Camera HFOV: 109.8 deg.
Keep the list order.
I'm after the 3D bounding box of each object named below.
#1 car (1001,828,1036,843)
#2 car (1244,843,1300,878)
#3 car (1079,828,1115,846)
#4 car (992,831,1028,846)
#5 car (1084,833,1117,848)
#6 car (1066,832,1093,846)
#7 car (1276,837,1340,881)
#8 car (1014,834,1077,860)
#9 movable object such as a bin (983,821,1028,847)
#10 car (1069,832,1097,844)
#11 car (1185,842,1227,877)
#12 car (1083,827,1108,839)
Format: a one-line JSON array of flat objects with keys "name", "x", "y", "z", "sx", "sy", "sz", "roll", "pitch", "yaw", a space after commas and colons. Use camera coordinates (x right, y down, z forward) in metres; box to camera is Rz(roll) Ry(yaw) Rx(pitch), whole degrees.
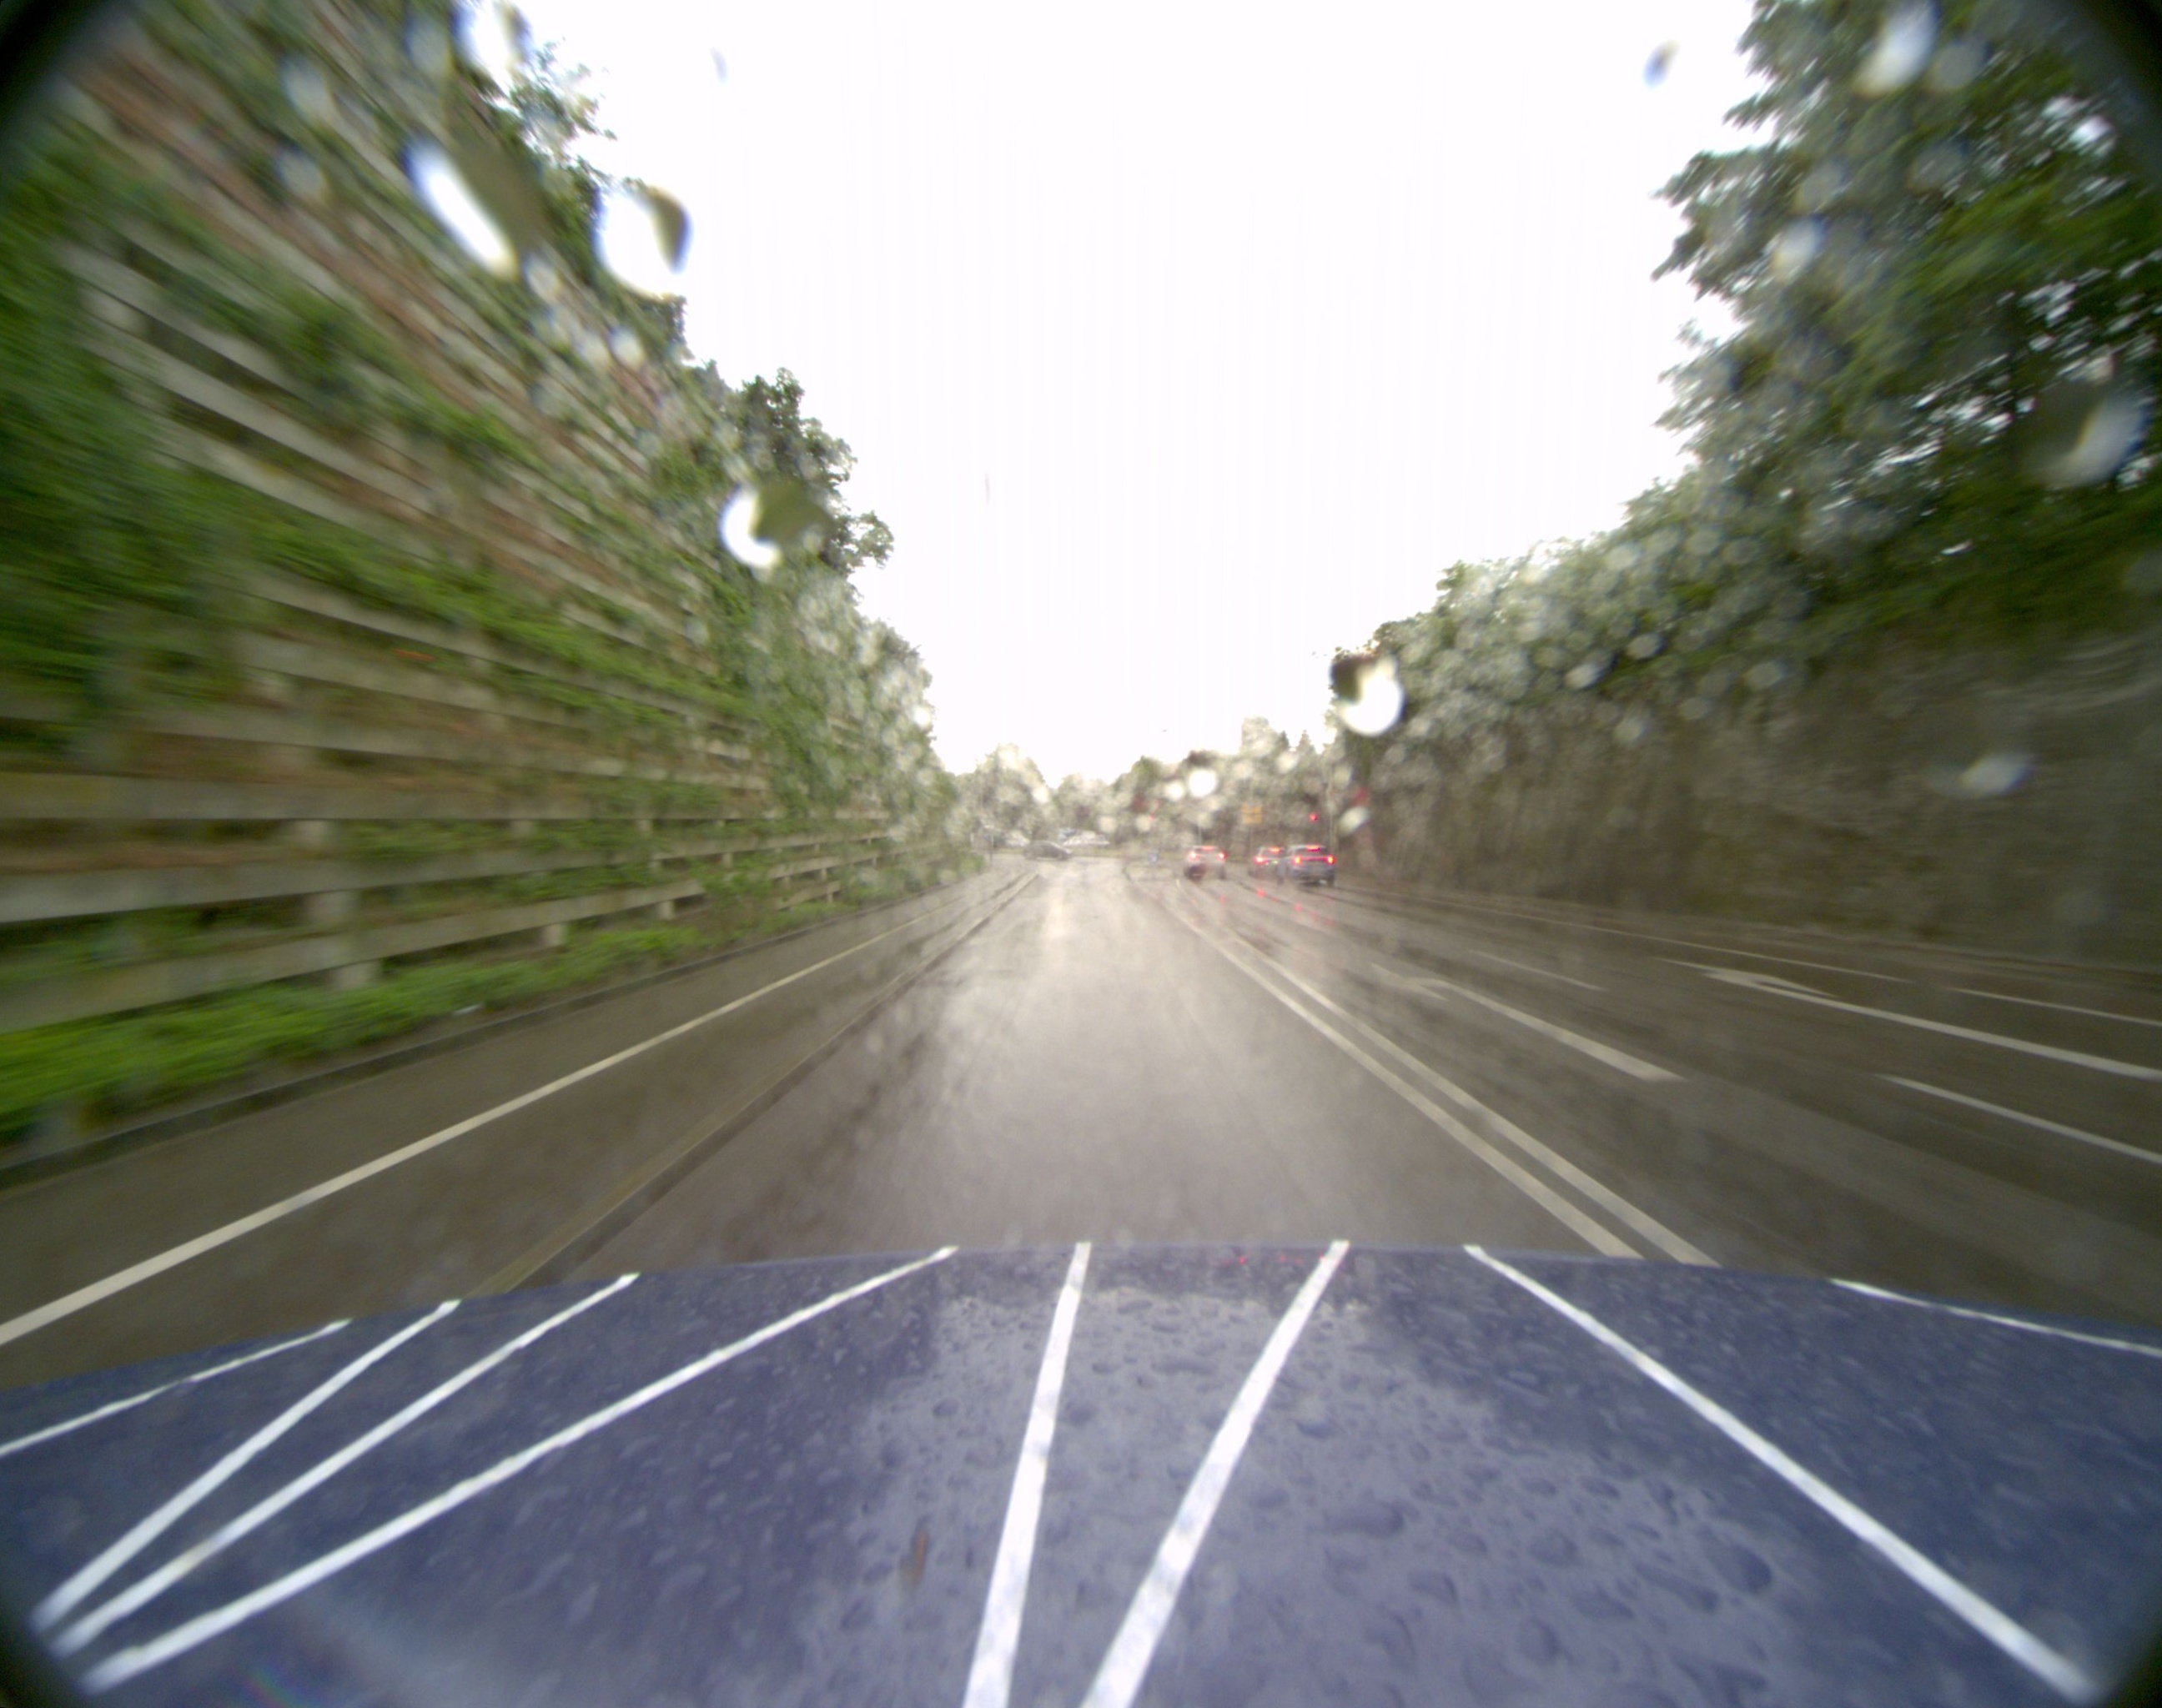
[{"name": "car", "x": -8.263, "y": -2.432, "z": 101.204, "sx": 4.386, "sy": 1.756, "sz": 1.921, "roll": 3, "pitch": 2, "yaw": 1}, {"name": "car", "x": 9.429, "y": 0.278, "z": 37.910, "sx": 1.997, "sy": 1.494, "sz": 4.730, "roll": 3, "pitch": 2, "yaw": 6}, {"name": "car", "x": 1.869, "y": -2.024, "z": 91.545, "sx": 4.232, "sy": 1.969, "sz": 1.903, "roll": 3, "pitch": 2, "yaw": 0}, {"name": "car", "x": -8.285, "y": -1.781, "z": 88.769, "sx": 3.997, "sy": 1.565, "sz": 1.669, "roll": 3, "pitch": 2, "yaw": 0}, {"name": "car", "x": 2.250, "y": -1.639, "z": 89.145, "sx": 3.822, "sy": 1.559, "sz": 1.774, "roll": 3, "pitch": 2, "yaw": 0}, {"name": "car", "x": -0.248, "y": -2.275, "z": 113.489, "sx": 3.961, "sy": 1.869, "sz": 1.693, "roll": 3, "pitch": 2, "yaw": -4}, {"name": "car", "x": 9.040, "y": 0.134, "z": 30.545, "sx": 1.818, "sy": 1.648, "sz": 4.052, "roll": 0, "pitch": 1, "yaw": 7}, {"name": "car", "x": -2.639, "y": -0.545, "z": 57.323, "sx": 4.384, "sy": 1.867, "sz": 1.938, "roll": 0, "pitch": 2, "yaw": 10}, {"name": "movable object such as a bin", "x": -8.274, "y": -2.169, "z": 83.175, "sx": 2.316, "sy": 2.671, "sz": 5.686, "roll": 1, "pitch": 1, "yaw": -35}, {"name": "car", "x": 0.317, "y": -2.320, "z": 111.014, "sx": 3.880, "sy": 1.619, "sz": 1.693, "roll": 3, "pitch": 2, "yaw": -4}, {"name": "car", "x": 6.048, "y": 0.205, "z": 37.146, "sx": 1.872, "sy": 1.592, "sz": 4.001, "roll": 0, "pitch": 1, "yaw": 7}, {"name": "car", "x": 2.033, "y": -2.983, "z": 108.385, "sx": 3.478, "sy": 1.531, "sz": 1.447, "roll": 3, "pitch": 2, "yaw": -2}]
